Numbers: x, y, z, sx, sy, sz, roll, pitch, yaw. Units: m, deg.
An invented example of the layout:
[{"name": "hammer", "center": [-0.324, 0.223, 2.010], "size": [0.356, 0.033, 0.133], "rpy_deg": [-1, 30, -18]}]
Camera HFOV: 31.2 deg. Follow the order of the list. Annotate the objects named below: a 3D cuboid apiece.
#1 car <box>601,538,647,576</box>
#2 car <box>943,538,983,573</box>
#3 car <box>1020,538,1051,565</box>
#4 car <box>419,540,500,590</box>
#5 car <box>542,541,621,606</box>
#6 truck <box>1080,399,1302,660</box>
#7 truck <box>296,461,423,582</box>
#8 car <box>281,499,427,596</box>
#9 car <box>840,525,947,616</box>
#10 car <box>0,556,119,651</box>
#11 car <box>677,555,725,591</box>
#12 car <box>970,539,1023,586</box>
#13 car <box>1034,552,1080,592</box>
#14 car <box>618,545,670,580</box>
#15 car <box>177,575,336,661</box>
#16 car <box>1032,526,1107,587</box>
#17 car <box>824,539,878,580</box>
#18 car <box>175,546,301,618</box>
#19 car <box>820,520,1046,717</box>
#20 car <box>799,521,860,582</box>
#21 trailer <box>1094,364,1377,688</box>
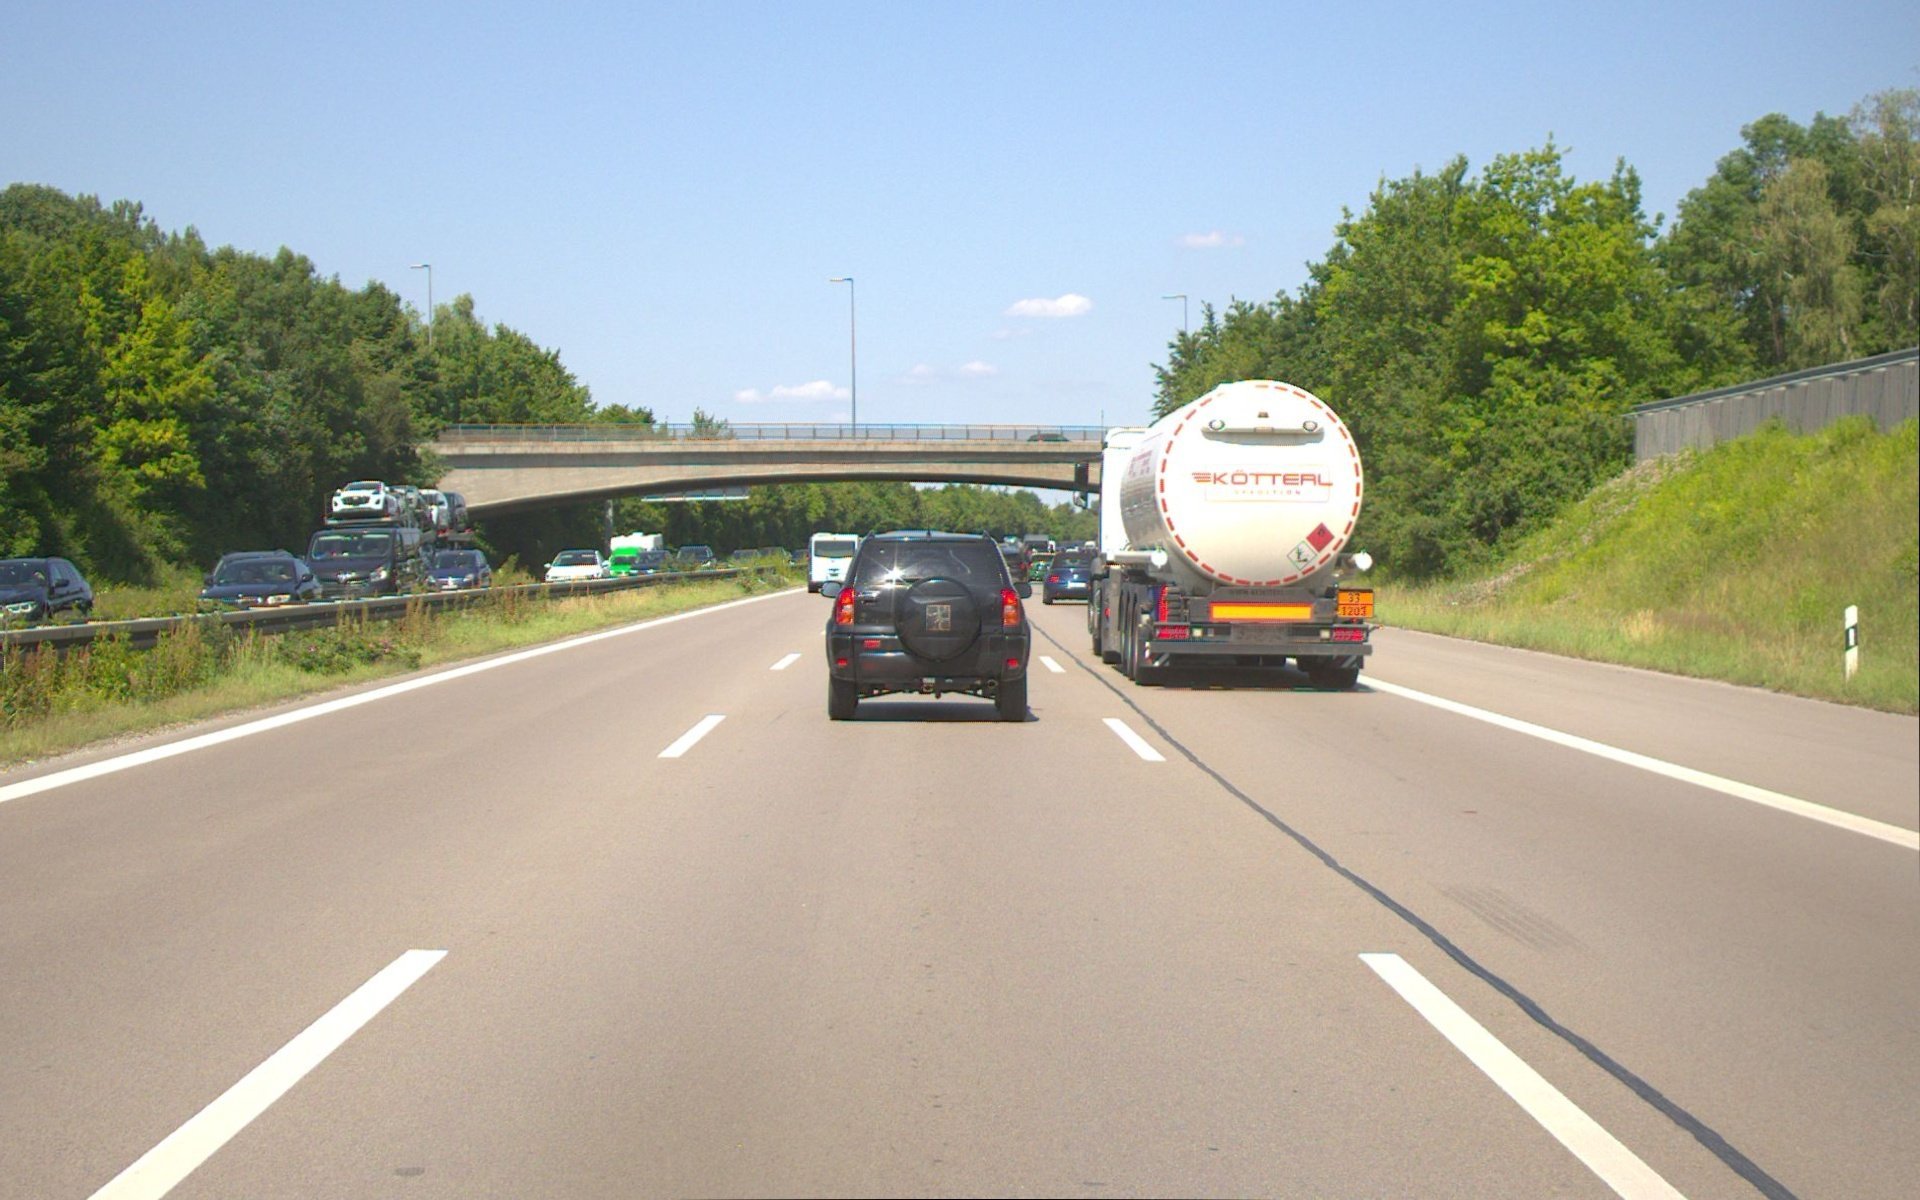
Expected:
[{"name": "car", "center": [-15.861, -2.042, 162.436], "size": [1.814, 1.802, 4.382], "rpy_deg": [0, 1, -1]}, {"name": "car", "center": [0.145, -2.259, 173.963], "size": [1.993, 1.744, 4.205], "rpy_deg": [0, 1, 0]}, {"name": "car", "center": [4.887, -3.153, 223.011], "size": [1.812, 1.740, 4.000], "rpy_deg": [0, 1, -1]}, {"name": "car", "center": [-16.501, -1.179, 113.460], "size": [1.993, 1.608, 4.581], "rpy_deg": [-1, 1, 0]}, {"name": "car", "center": [-12.071, -0.819, 109.906], "size": [1.993, 2.007, 4.914], "rpy_deg": [0, 0, 0]}, {"name": "truck", "center": [3.130, -0.958, 48.078], "size": [2.638, 3.363, 6.487], "rpy_deg": [1, 1, 0]}, {"name": "truck", "center": [-20.804, -2.700, 119.571], "size": [3.240, 4.036, 7.396], "rpy_deg": [-1, 1, -2]}, {"name": "car", "center": [-12.601, -1.103, 71.823], "size": [2.090, 1.938, 5.689], "rpy_deg": [0, 1, -1]}, {"name": "car", "center": [-1.338, -0.590, 67.496], "size": [1.993, 1.700, 4.336], "rpy_deg": [-1, 1, -2]}, {"name": "car", "center": [-15.810, 0.032, 58.082], "size": [1.993, 1.504, 5.208], "rpy_deg": [0, 1, -1]}, {"name": "car", "center": [-11.838, -1.231, 157.409], "size": [1.850, 1.568, 4.422], "rpy_deg": [0, 0, 0]}, {"name": "car", "center": [1.307, -1.300, 121.944], "size": [1.842, 1.606, 4.000], "rpy_deg": [0, 0, 1]}, {"name": "car", "center": [4.394, -1.270, 156.223], "size": [1.993, 1.773, 4.261], "rpy_deg": [0, 1, 1]}, {"name": "car", "center": [-12.831, -1.547, 139.692], "size": [1.716, 1.385, 4.000], "rpy_deg": [0, 1, 0]}, {"name": "car", "center": [-12.652, 0.300, 62.124], "size": [1.874, 1.434, 5.019], "rpy_deg": [0, 1, -1]}, {"name": "car", "center": [3.119, -1.219, 98.529], "size": [1.993, 1.678, 4.000], "rpy_deg": [0, 0, 0]}, {"name": "car", "center": [-4.311, -1.587, 136.594], "size": [1.993, 1.547, 4.000], "rpy_deg": [0, 0, 0]}, {"name": "car", "center": [-16.971, -0.455, 81.029], "size": [1.964, 1.635, 4.896], "rpy_deg": [0, 1, -1]}, {"name": "car", "center": [-0.254, 0.133, 31.113], "size": [1.906, 1.659, 4.000], "rpy_deg": [0, 1, -1]}, {"name": "car", "center": [-4.466, -1.654, 117.889], "size": [1.993, 2.007, 4.950], "rpy_deg": [-1, 1, -1]}, {"name": "trailer", "center": [3.115, -0.860, 41.833], "size": [2.648, 3.378, 11.152], "rpy_deg": [1, 1, 1]}]
